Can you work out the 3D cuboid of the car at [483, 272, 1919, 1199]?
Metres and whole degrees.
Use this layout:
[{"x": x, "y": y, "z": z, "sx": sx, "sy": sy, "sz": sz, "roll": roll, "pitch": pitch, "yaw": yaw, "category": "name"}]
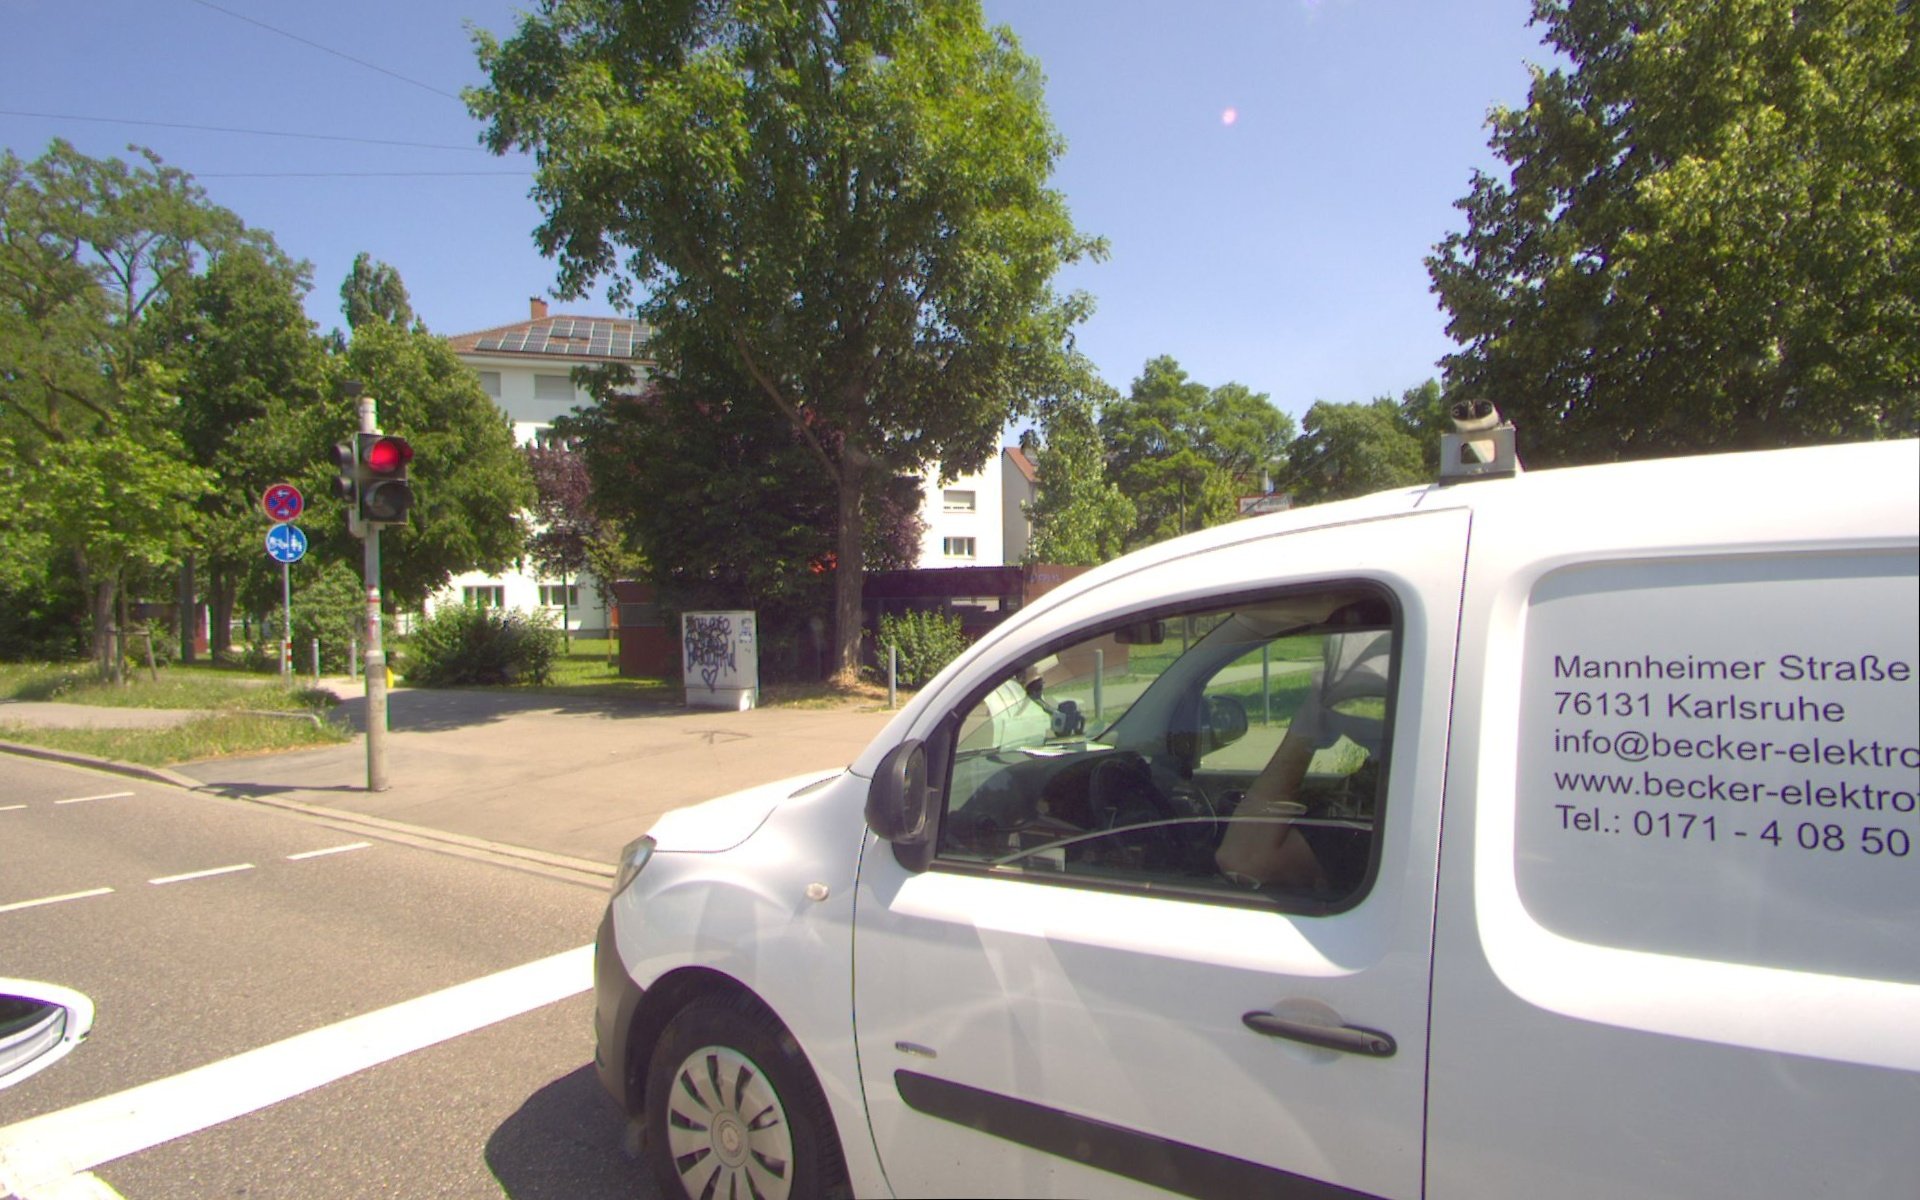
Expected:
[{"x": 1.122, "y": 0.568, "z": 2.304, "sx": 4.384, "sy": 1.850, "sz": 1.990, "roll": -1, "pitch": 0, "yaw": 32, "category": "car"}]
